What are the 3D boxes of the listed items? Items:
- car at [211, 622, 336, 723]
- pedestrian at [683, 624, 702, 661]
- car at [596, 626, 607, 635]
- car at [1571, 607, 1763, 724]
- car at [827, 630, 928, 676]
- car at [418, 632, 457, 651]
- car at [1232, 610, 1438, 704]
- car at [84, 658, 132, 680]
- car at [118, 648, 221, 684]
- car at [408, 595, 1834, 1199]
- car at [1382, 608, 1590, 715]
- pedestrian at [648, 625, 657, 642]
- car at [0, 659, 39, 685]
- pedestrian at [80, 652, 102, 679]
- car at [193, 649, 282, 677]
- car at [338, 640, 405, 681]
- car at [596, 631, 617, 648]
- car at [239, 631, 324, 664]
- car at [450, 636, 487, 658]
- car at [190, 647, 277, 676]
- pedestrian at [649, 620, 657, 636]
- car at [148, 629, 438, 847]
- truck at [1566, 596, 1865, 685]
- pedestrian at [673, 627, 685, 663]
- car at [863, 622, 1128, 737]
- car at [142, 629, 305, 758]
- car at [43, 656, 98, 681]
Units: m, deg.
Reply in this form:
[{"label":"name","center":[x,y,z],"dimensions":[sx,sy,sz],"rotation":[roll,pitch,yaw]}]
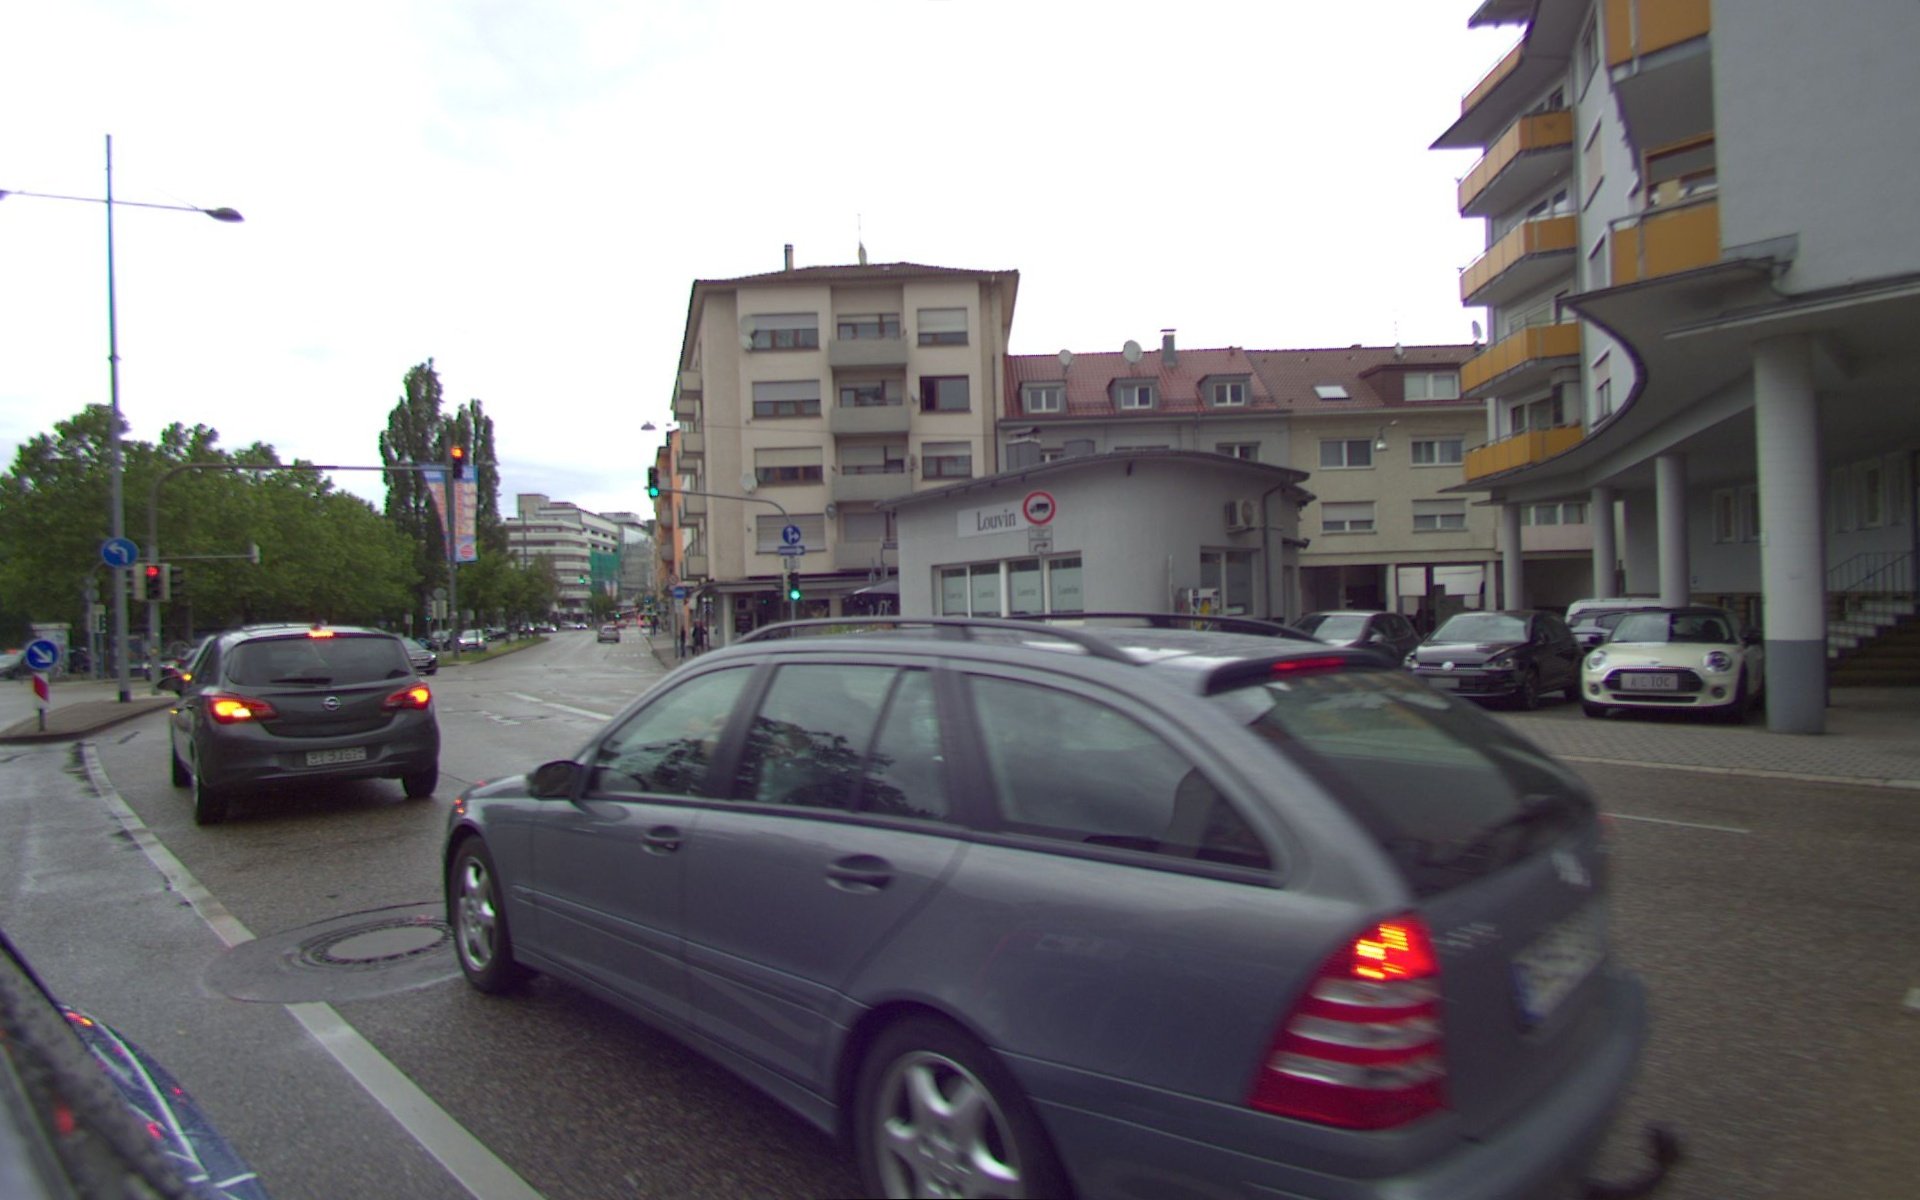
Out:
[{"label":"car","center":[-12.740,1.293,18.790],"dimensions":[1.732,1.627,4.221],"rotation":[0,-3,-35]},{"label":"pedestrian","center":[-13.297,2.118,50.316],"dimensions":[0.767,1.742,0.662],"rotation":[-5,-1,-15]},{"label":"car","center":[-56.789,4.779,160.222],"dimensions":[1.580,1.441,3.958],"rotation":[1,-1,-19]},{"label":"car","center":[9.466,0.834,13.456],"dimensions":[1.496,1.348,3.581],"rotation":[-2,-4,45]},{"label":"car","center":[-2.998,1.912,36.884],"dimensions":[3.575,1.472,1.543],"rotation":[-2,-1,-4]},{"label":"car","center":[-43.243,3.403,83.833],"dimensions":[1.866,1.500,4.371],"rotation":[0,-2,-13]},{"label":"car","center":[6.498,0.936,17.359],"dimensions":[3.767,1.431,1.800],"rotation":[3,-2,-43]},{"label":"car","center":[-62.288,5.024,74.010],"dimensions":[1.506,1.438,3.849],"rotation":[0,-3,-21]},{"label":"car","center":[-34.587,2.868,44.423],"dimensions":[1.866,1.410,4.371],"rotation":[0,-2,-13]},{"label":"car","center":[-0.140,0.772,3.300],"dimensions":[4.415,1.451,1.713],"rotation":[-2,-1,44]},{"label":"car","center":[8.072,0.911,15.394],"dimensions":[3.711,1.431,1.640],"rotation":[3,-3,-43]},{"label":"pedestrian","center":[-31.775,3.477,104.445],"dimensions":[0.552,1.741,0.610],"rotation":[-5,0,-36]},{"label":"car","center":[-55.396,4.151,58.308],"dimensions":[1.709,1.451,4.457],"rotation":[-1,-3,-18]},{"label":"pedestrian","center":[-53.081,3.988,61.820],"dimensions":[0.754,1.645,0.863],"rotation":[-2,-2,-15]},{"label":"car","center":[-51.157,4.435,71.725],"dimensions":[4.675,1.415,1.867],"rotation":[-5,0,-13]},{"label":"car","center":[-23.540,2.367,40.422],"dimensions":[1.776,1.445,4.406],"rotation":[-3,0,-37]},{"label":"car","center":[-31.049,3.472,88.795],"dimensions":[1.652,1.402,4.165],"rotation":[1,-2,-20]},{"label":"car","center":[-50.882,3.524,75.998],"dimensions":[4.771,1.957,1.956],"rotation":[-5,0,-13]},{"label":"car","center":[-36.855,3.536,76.023],"dimensions":[1.865,1.588,4.374],"rotation":[0,-2,-17]},{"label":"car","center":[-48.892,4.145,68.246],"dimensions":[4.340,1.495,1.869],"rotation":[-4,0,-19]},{"label":"pedestrian","center":[-34.755,3.150,114.592],"dimensions":[0.754,1.708,0.802],"rotation":[-1,-1,-20]},{"label":"car","center":[-6.145,1.041,9.109],"dimensions":[1.624,1.464,3.995],"rotation":[-1,-1,-41]},{"label":"truck","center":[17.703,0.886,24.014],"dimensions":[1.769,1.883,5.429],"rotation":[3,-2,-40]},{"label":"pedestrian","center":[-14.309,2.292,51.585],"dimensions":[0.446,1.743,0.526],"rotation":[-5,-1,-14]},{"label":"car","center":[0.384,1.052,15.010],"dimensions":[1.706,1.376,4.119],"rotation":[-1,0,-37]},{"label":"car","center":[-9.765,1.167,13.468],"dimensions":[1.535,1.408,3.735],"rotation":[-1,-2,-36]},{"label":"car","center":[-60.572,4.635,69.007],"dimensions":[1.613,1.433,3.366],"rotation":[-2,0,-19]}]
